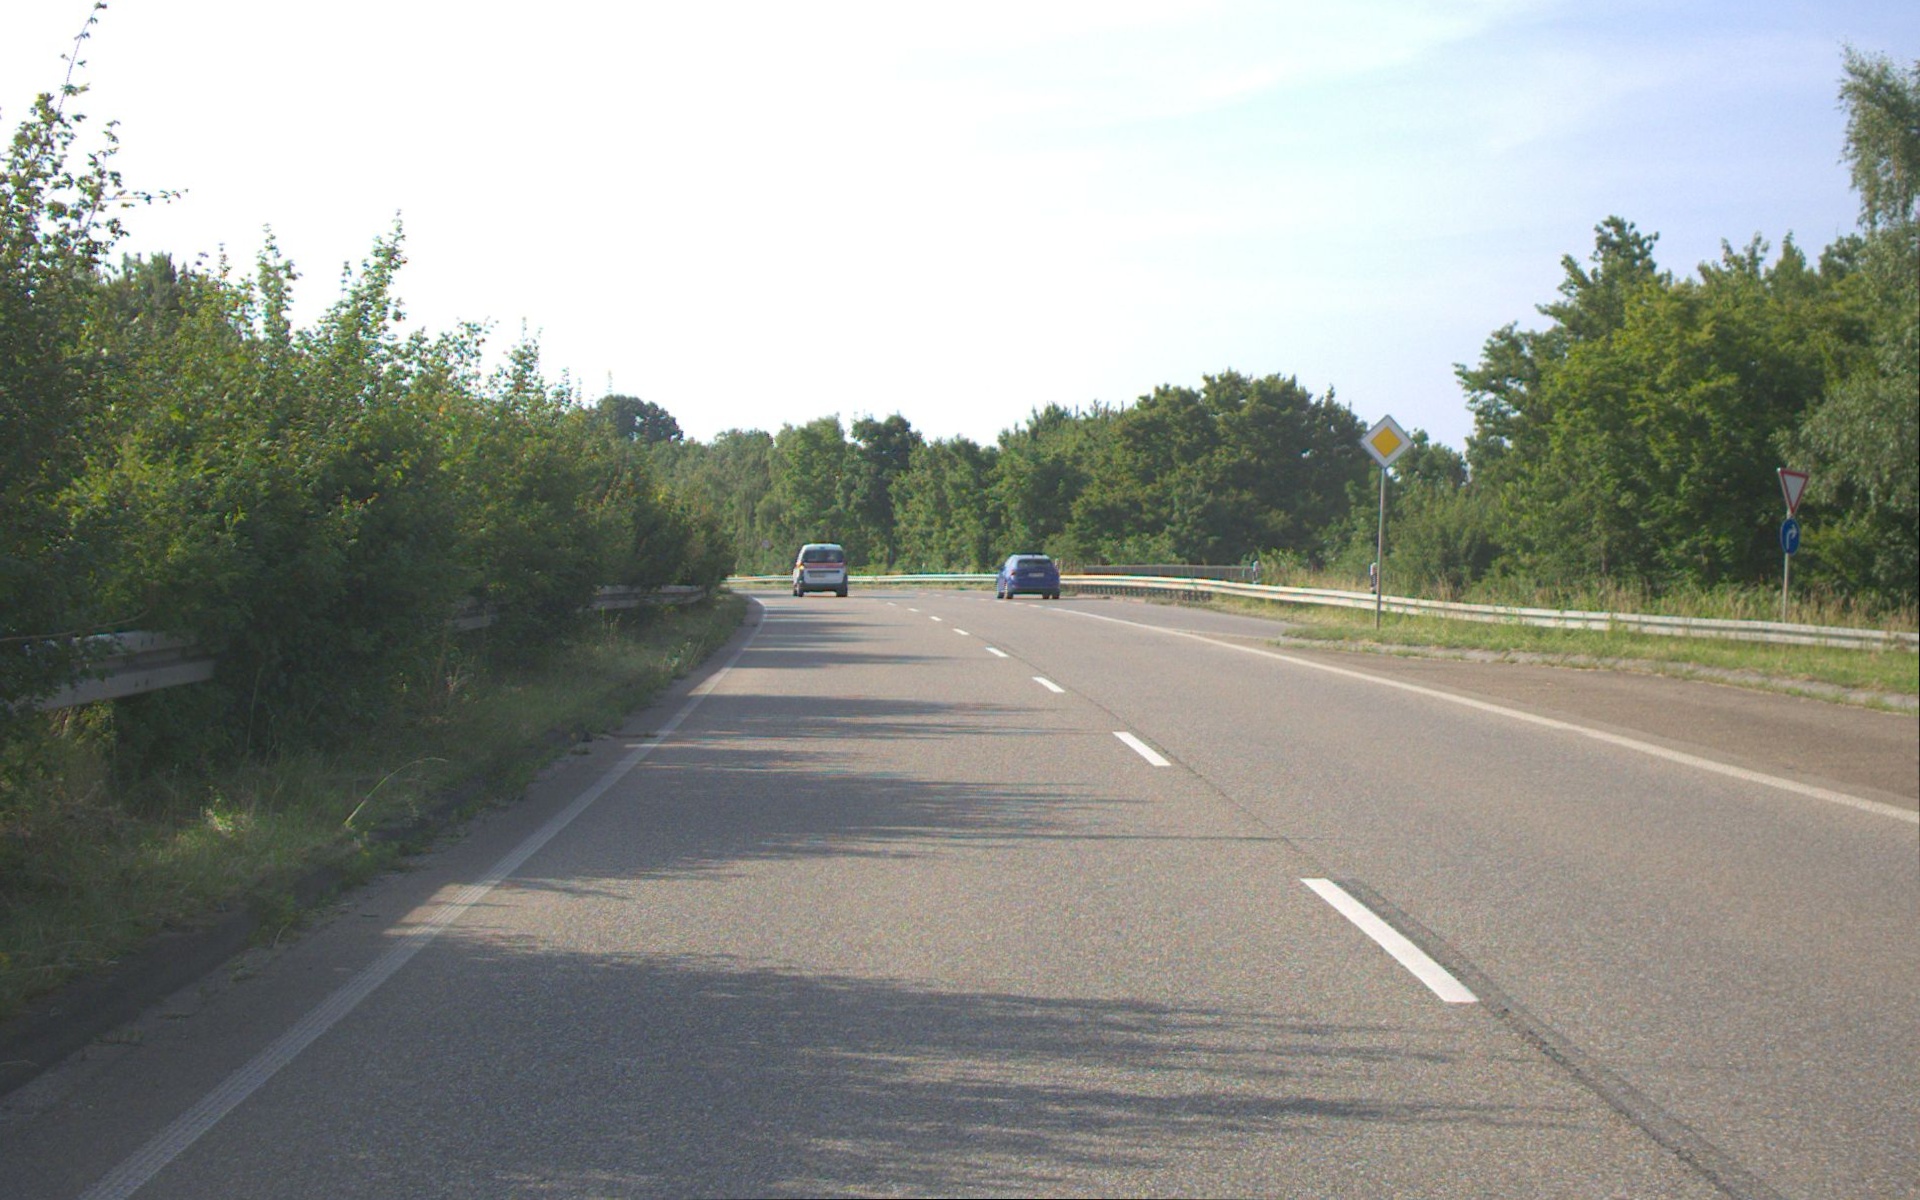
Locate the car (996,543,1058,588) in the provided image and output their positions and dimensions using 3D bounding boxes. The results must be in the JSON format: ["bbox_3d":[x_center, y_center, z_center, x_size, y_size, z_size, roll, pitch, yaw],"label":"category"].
[{"bbox_3d":[2.205,-1.136,113.642,1.779,1.447,4.000,0,0,-3],"label":"car"}]

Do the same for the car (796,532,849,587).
[{"bbox_3d":[-4.725,-1.384,117.897,1.765,1.875,4.000,0,1,-3],"label":"car"}]
